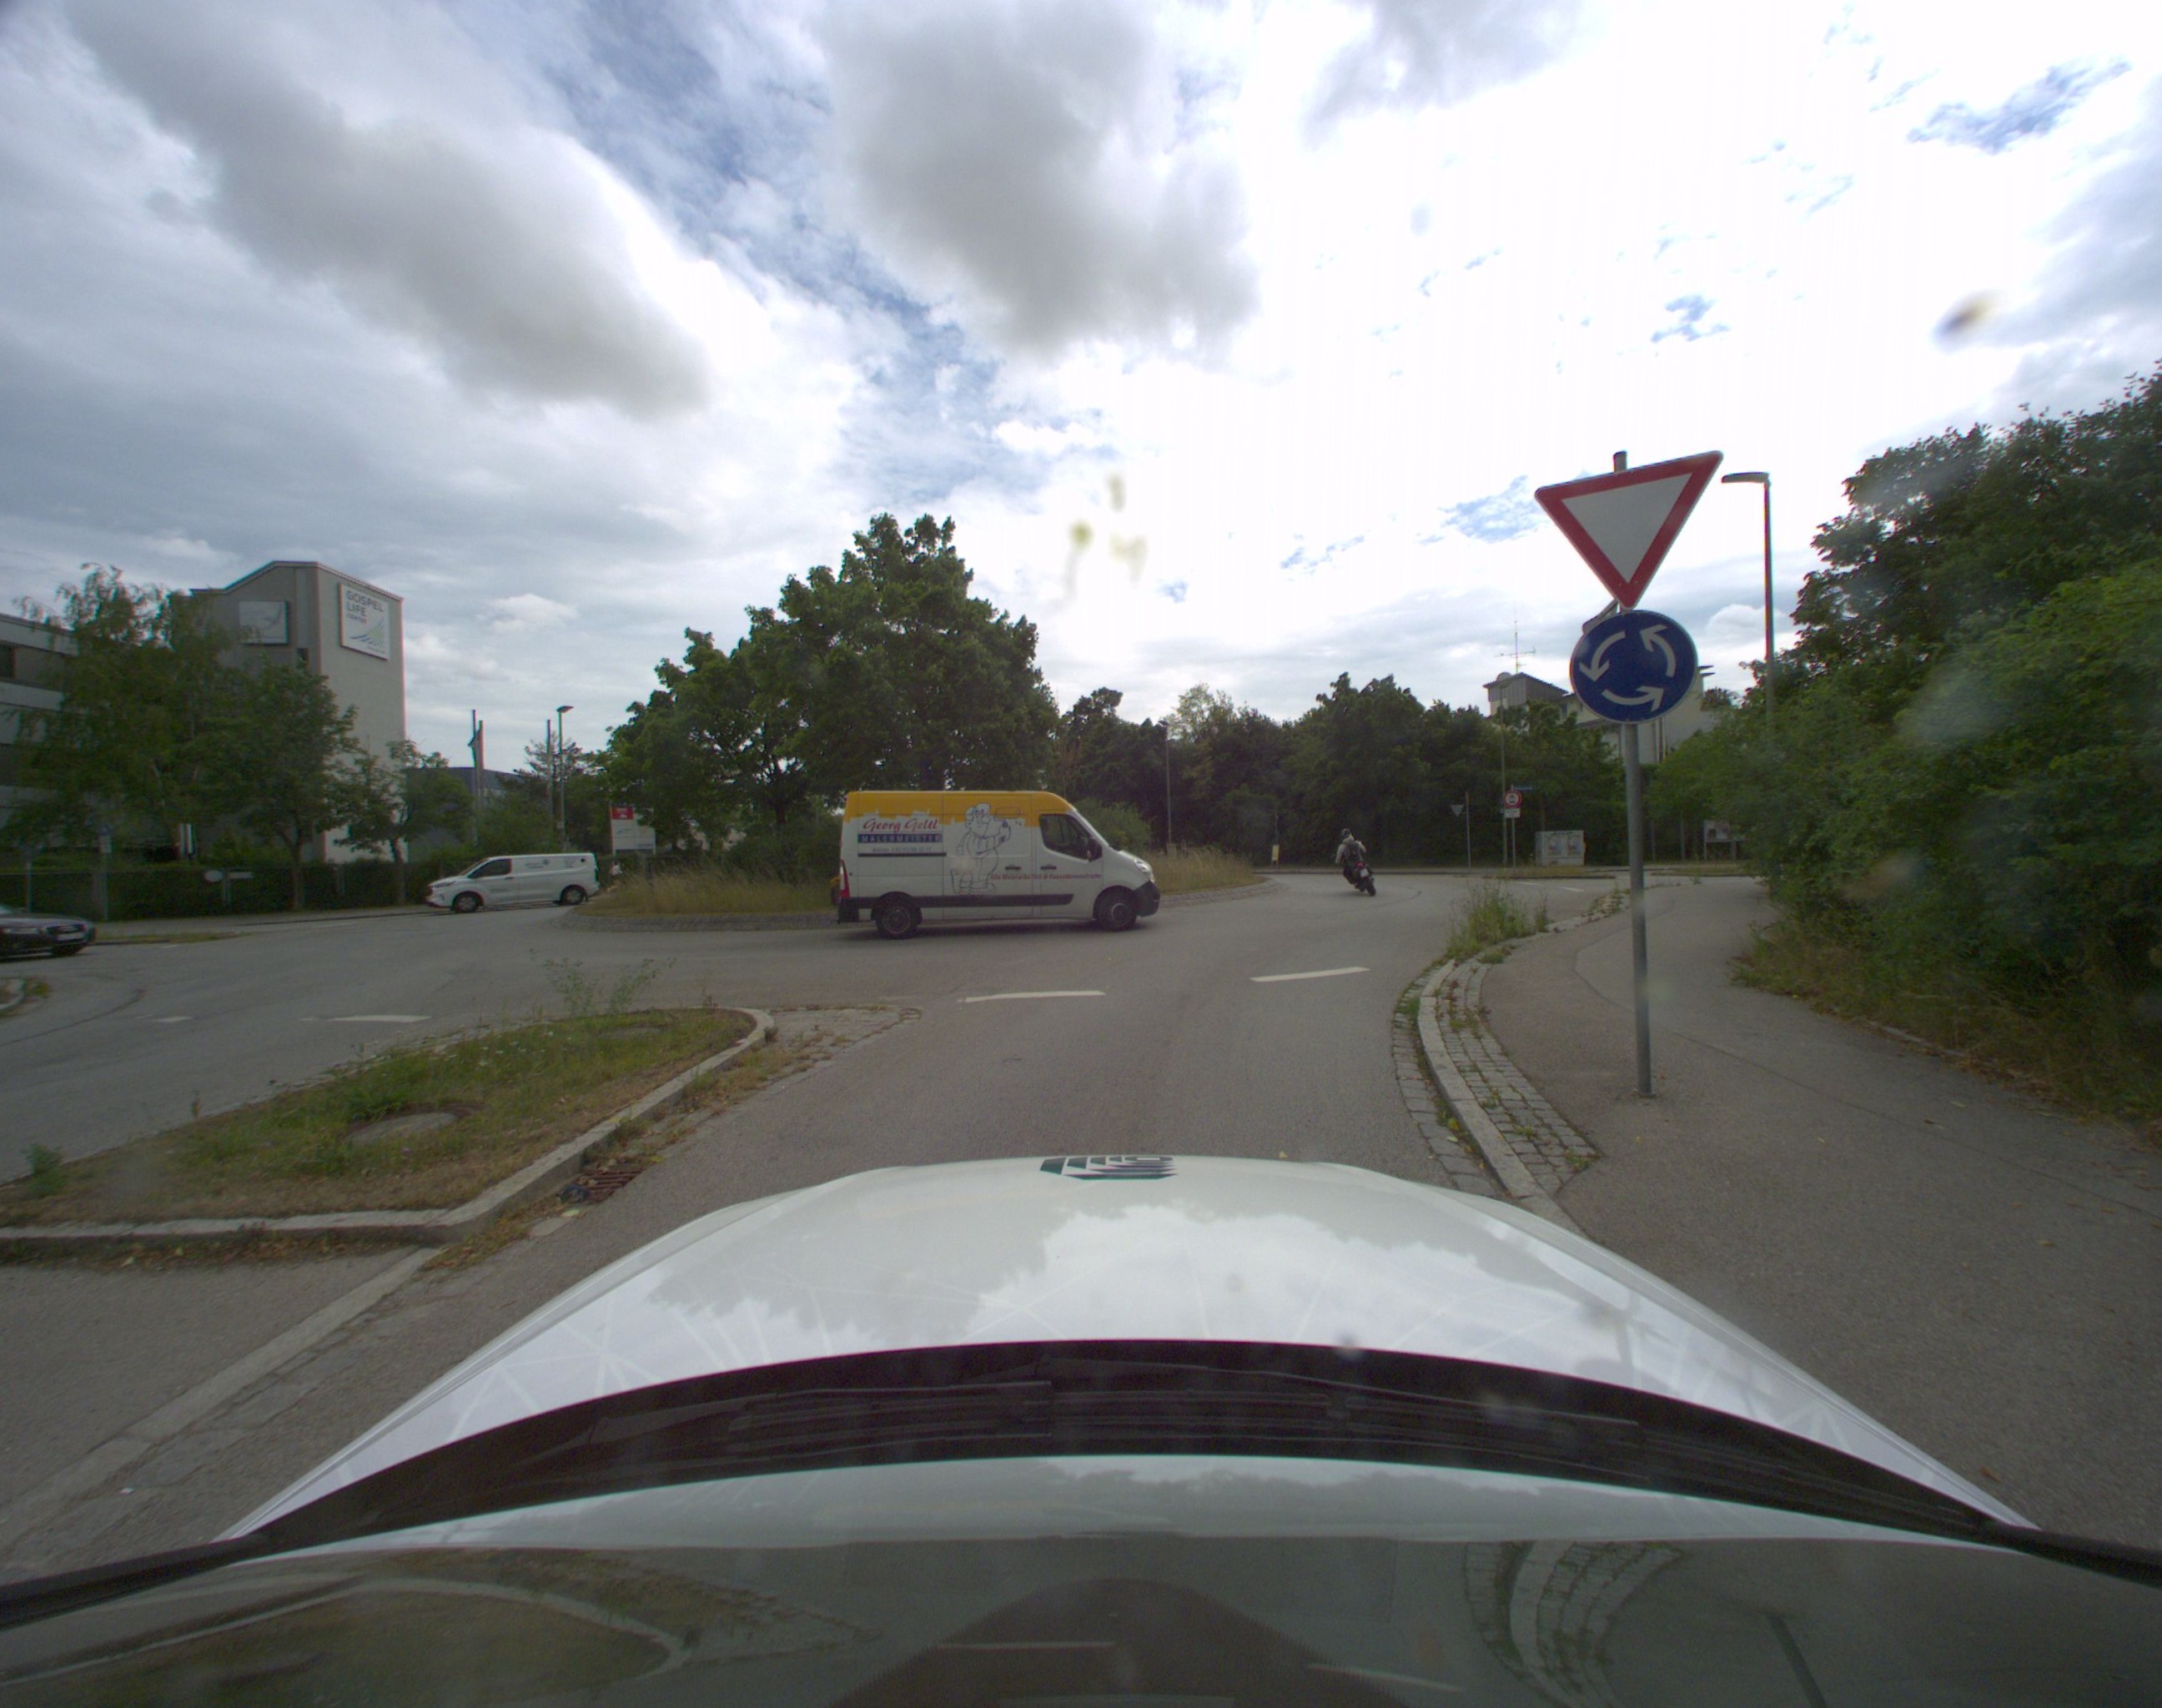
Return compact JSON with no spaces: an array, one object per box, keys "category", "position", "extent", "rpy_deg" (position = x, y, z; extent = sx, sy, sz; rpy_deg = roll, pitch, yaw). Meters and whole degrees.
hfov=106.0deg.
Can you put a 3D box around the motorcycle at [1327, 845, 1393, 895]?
[{"category":"motorcycle","position":[6.952,0.368,20.463],"extent":[0.893,1.158,2.623],"rpy_deg":[-2,1,3]}]

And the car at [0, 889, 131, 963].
[{"category":"car","position":[-23.307,1.559,16.868],"extent":[4.454,1.347,1.931],"rpy_deg":[-3,1,-9]}]

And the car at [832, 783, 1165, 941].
[{"category":"car","position":[-1.398,0.077,14.556],"extent":[5.416,2.451,2.165],"rpy_deg":[-2,1,-6]}]

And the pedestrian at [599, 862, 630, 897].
[{"category":"pedestrian","position":[-20.329,1.090,35.506],"extent":[0.626,1.468,0.953],"rpy_deg":[-2,1,17]}]

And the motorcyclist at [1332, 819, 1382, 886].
[{"category":"motorcyclist","position":[6.934,-0.034,20.524],"extent":[0.858,1.623,1.191],"rpy_deg":[-2,0,2]}]

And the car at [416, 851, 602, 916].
[{"category":"car","position":[-20.335,0.969,29.132],"extent":[1.975,1.905,5.103],"rpy_deg":[-2,1,45]}]
